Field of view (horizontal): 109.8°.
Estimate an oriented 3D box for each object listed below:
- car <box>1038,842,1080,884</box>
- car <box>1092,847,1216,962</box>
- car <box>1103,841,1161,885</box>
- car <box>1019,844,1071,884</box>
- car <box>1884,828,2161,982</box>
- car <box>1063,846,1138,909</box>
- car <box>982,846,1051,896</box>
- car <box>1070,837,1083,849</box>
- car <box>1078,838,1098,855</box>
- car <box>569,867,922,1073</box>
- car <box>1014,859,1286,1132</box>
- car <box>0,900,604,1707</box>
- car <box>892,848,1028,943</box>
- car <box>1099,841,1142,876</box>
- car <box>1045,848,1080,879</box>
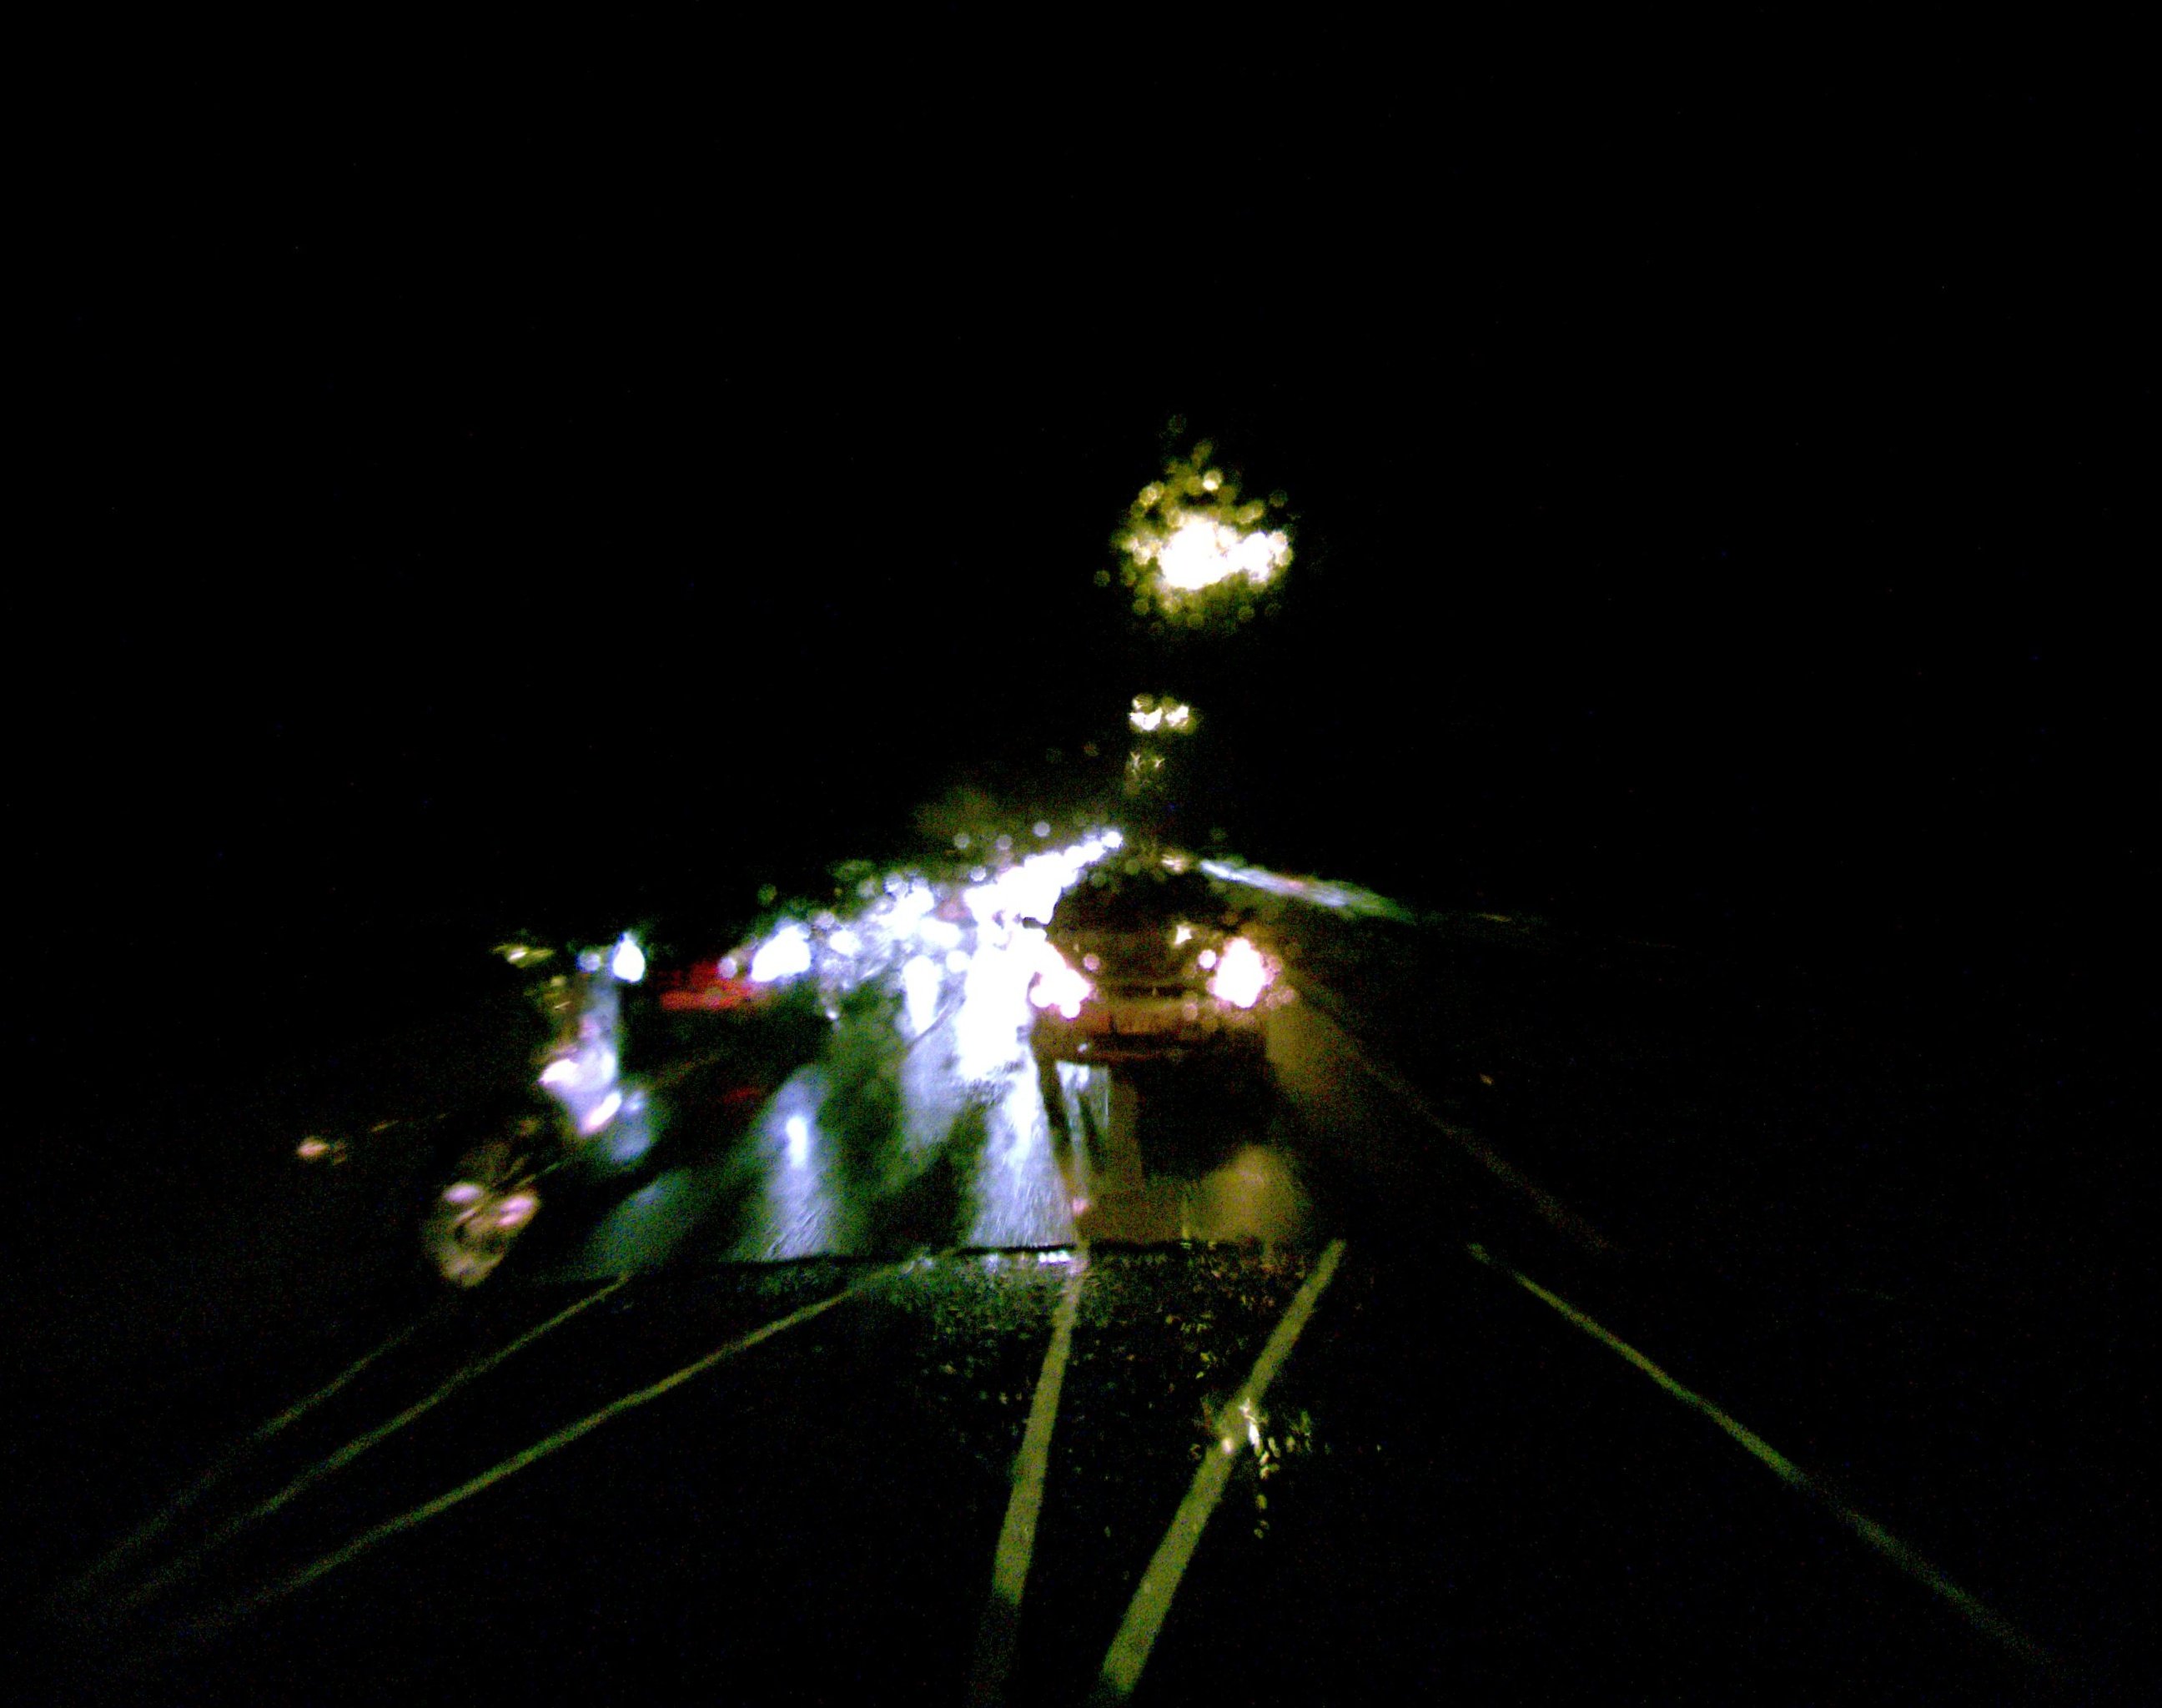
[{"bbox_3d":[-1.099,0.406,40.032,1.998,2.002,3.999,-2,1,1],"label":"car"},{"bbox_3d":[1.033,0.683,12.126,1.606,1.417,3.388,-4,2,1],"label":"car"},{"bbox_3d":[1.930,0.286,29.666,1.998,1.497,3.999,-2,1,1],"label":"car"},{"bbox_3d":[-1.536,0.394,33.664,1.998,1.589,4.391,-1,1,1],"label":"car"},{"bbox_3d":[11.732,0.495,7.701,1.999,1.500,4.838,-1,1,-1],"label":"car"},{"bbox_3d":[0.532,0.583,21.350,1.838,1.417,3.698,-4,2,1],"label":"car"},{"bbox_3d":[-2.234,0.550,27.428,1.998,1.589,4.391,-1,1,1],"label":"car"},{"bbox_3d":[-0.747,-1.951,130.123,1.998,2.002,3.999,-1,1,0],"label":"car"},{"bbox_3d":[0.737,-0.772,75.687,1.869,1.654,4.000,-1,1,2],"label":"car"},{"bbox_3d":[-3.092,0.963,8.082,1.743,1.409,4.139,-2,1,2],"label":"car"},{"bbox_3d":[0.419,0.824,6.032,1.497,1.416,3.389,-2,1,1],"label":"car"},{"bbox_3d":[-3.067,1.043,1.170,1.711,1.513,4.413,-2,1,2],"label":"car"},{"bbox_3d":[-2.288,0.727,15.631,1.998,1.589,4.391,-1,1,1],"label":"car"},{"bbox_3d":[2.000,0.195,38.411,1.998,1.575,4.000,-2,1,4],"label":"car"},{"bbox_3d":[-1.142,0.572,48.328,1.998,1.790,3.999,-1,1,1],"label":"car"}]
